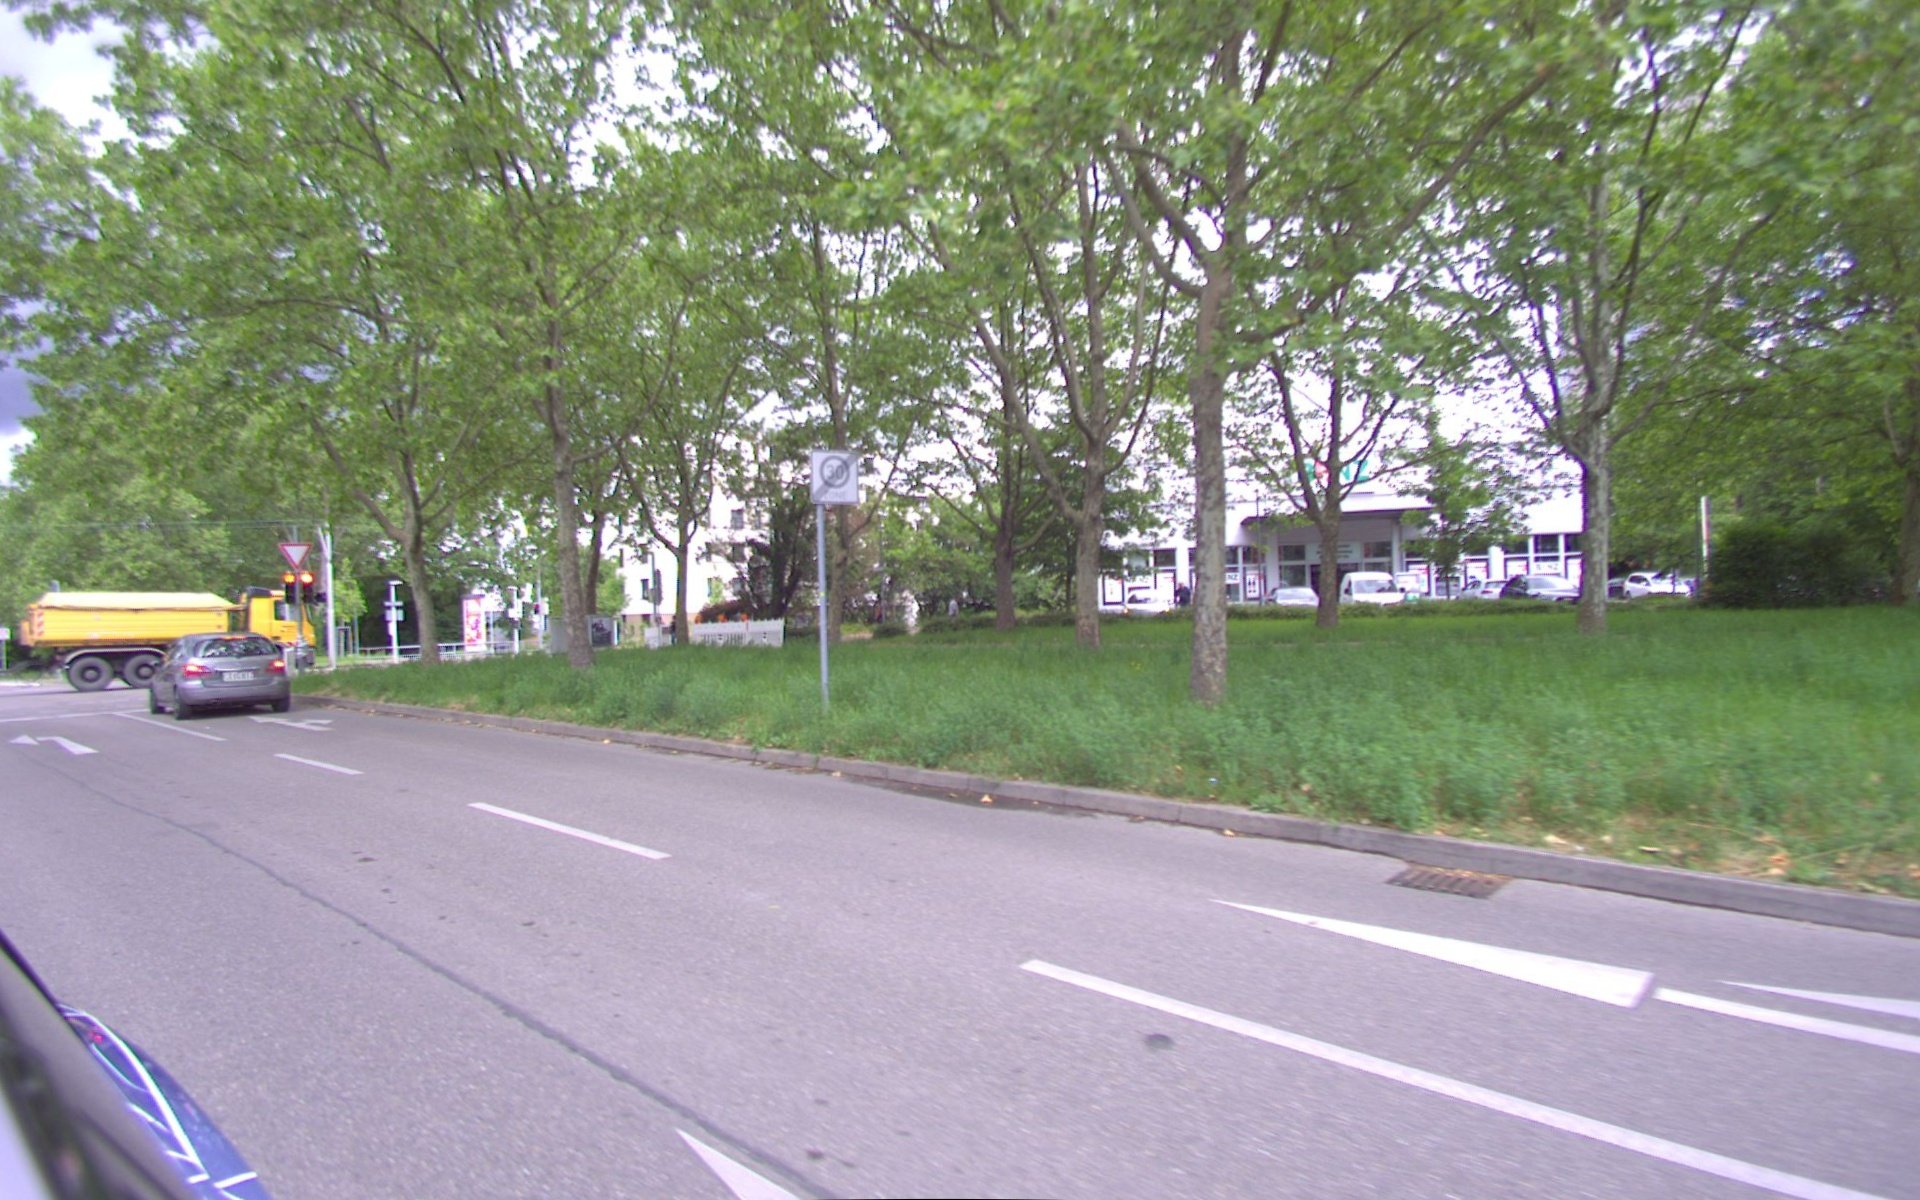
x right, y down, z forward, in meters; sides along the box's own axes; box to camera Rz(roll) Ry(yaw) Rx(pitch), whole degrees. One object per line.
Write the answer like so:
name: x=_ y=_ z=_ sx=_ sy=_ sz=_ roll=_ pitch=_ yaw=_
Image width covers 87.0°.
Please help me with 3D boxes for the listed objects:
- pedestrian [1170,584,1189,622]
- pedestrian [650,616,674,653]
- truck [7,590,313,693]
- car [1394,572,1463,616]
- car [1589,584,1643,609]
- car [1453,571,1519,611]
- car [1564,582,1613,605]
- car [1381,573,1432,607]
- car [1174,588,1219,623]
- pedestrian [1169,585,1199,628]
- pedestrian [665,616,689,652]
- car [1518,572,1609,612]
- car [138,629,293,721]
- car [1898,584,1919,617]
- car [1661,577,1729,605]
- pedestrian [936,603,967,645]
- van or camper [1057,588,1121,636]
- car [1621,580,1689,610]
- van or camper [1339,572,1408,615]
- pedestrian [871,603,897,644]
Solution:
pedestrian: x=10.367 y=0.162 z=47.805 sx=0.610 sy=1.758 sz=0.741 roll=-1 pitch=-2 yaw=-9
pedestrian: x=-12.384 y=1.437 z=42.045 sx=0.689 sy=1.500 sz=0.689 roll=0 pitch=-2 yaw=-43
truck: x=-26.122 y=1.274 z=33.364 sx=2.730 sy=3.026 sz=7.665 roll=-3 pitch=-2 yaw=45
car: x=17.125 y=-0.179 z=37.166 sx=1.470 sy=1.476 sz=3.876 roll=-2 pitch=-2 yaw=13
car: x=44.748 y=-0.222 z=69.101 sx=1.720 sy=1.494 sz=3.984 roll=-2 pitch=-2 yaw=12
car: x=23.688 y=-0.400 z=45.703 sx=1.657 sy=1.647 sz=3.805 roll=-2 pitch=0 yaw=13
car: x=46.502 y=-0.466 z=74.937 sx=1.720 sy=1.494 sz=3.984 roll=-2 pitch=-2 yaw=12
car: x=20.556 y=-0.416 z=46.739 sx=1.470 sy=1.415 sz=3.394 roll=-2 pitch=-2 yaw=13
car: x=11.257 y=0.299 z=48.004 sx=1.719 sy=1.512 sz=4.244 roll=-2 pitch=-2 yaw=17
pedestrian: x=8.589 y=0.252 z=38.790 sx=0.795 sy=1.598 sz=0.788 roll=-3 pitch=-2 yaw=40
pedestrian: x=-12.031 y=1.456 z=43.017 sx=0.689 sy=1.500 sz=0.721 roll=0 pitch=-2 yaw=-42
car: x=20.474 y=-0.259 z=34.459 sx=1.677 sy=1.264 sz=3.236 roll=-1 pitch=0 yaw=12
car: x=-14.925 y=1.448 z=20.182 sx=4.412 sy=1.598 sz=1.747 roll=-3 pitch=-2 yaw=43
car: x=39.913 y=0.022 z=40.697 sx=1.582 sy=1.331 sz=3.304 roll=-1 pitch=0 yaw=8
car: x=43.711 y=-0.506 z=60.311 sx=1.720 sy=1.494 sz=3.984 roll=-2 pitch=-2 yaw=12
pedestrian: x=-0.339 y=0.915 z=39.358 sx=0.796 sy=1.598 sz=0.839 roll=-3 pitch=-2 yaw=44
van or camper: x=5.098 y=0.455 z=39.522 sx=1.830 sy=1.696 sz=3.979 roll=-3 pitch=-1 yaw=16
car: x=39.392 y=-0.256 z=57.468 sx=1.720 sy=1.494 sz=3.984 roll=-2 pitch=-2 yaw=12
van or camper: x=14.622 y=-0.186 z=35.955 sx=1.502 sy=1.367 sz=3.762 roll=-2 pitch=-2 yaw=11
pedestrian: x=-2.960 y=0.910 z=39.427 sx=0.771 sy=1.550 sz=0.647 roll=-3 pitch=-2 yaw=36
